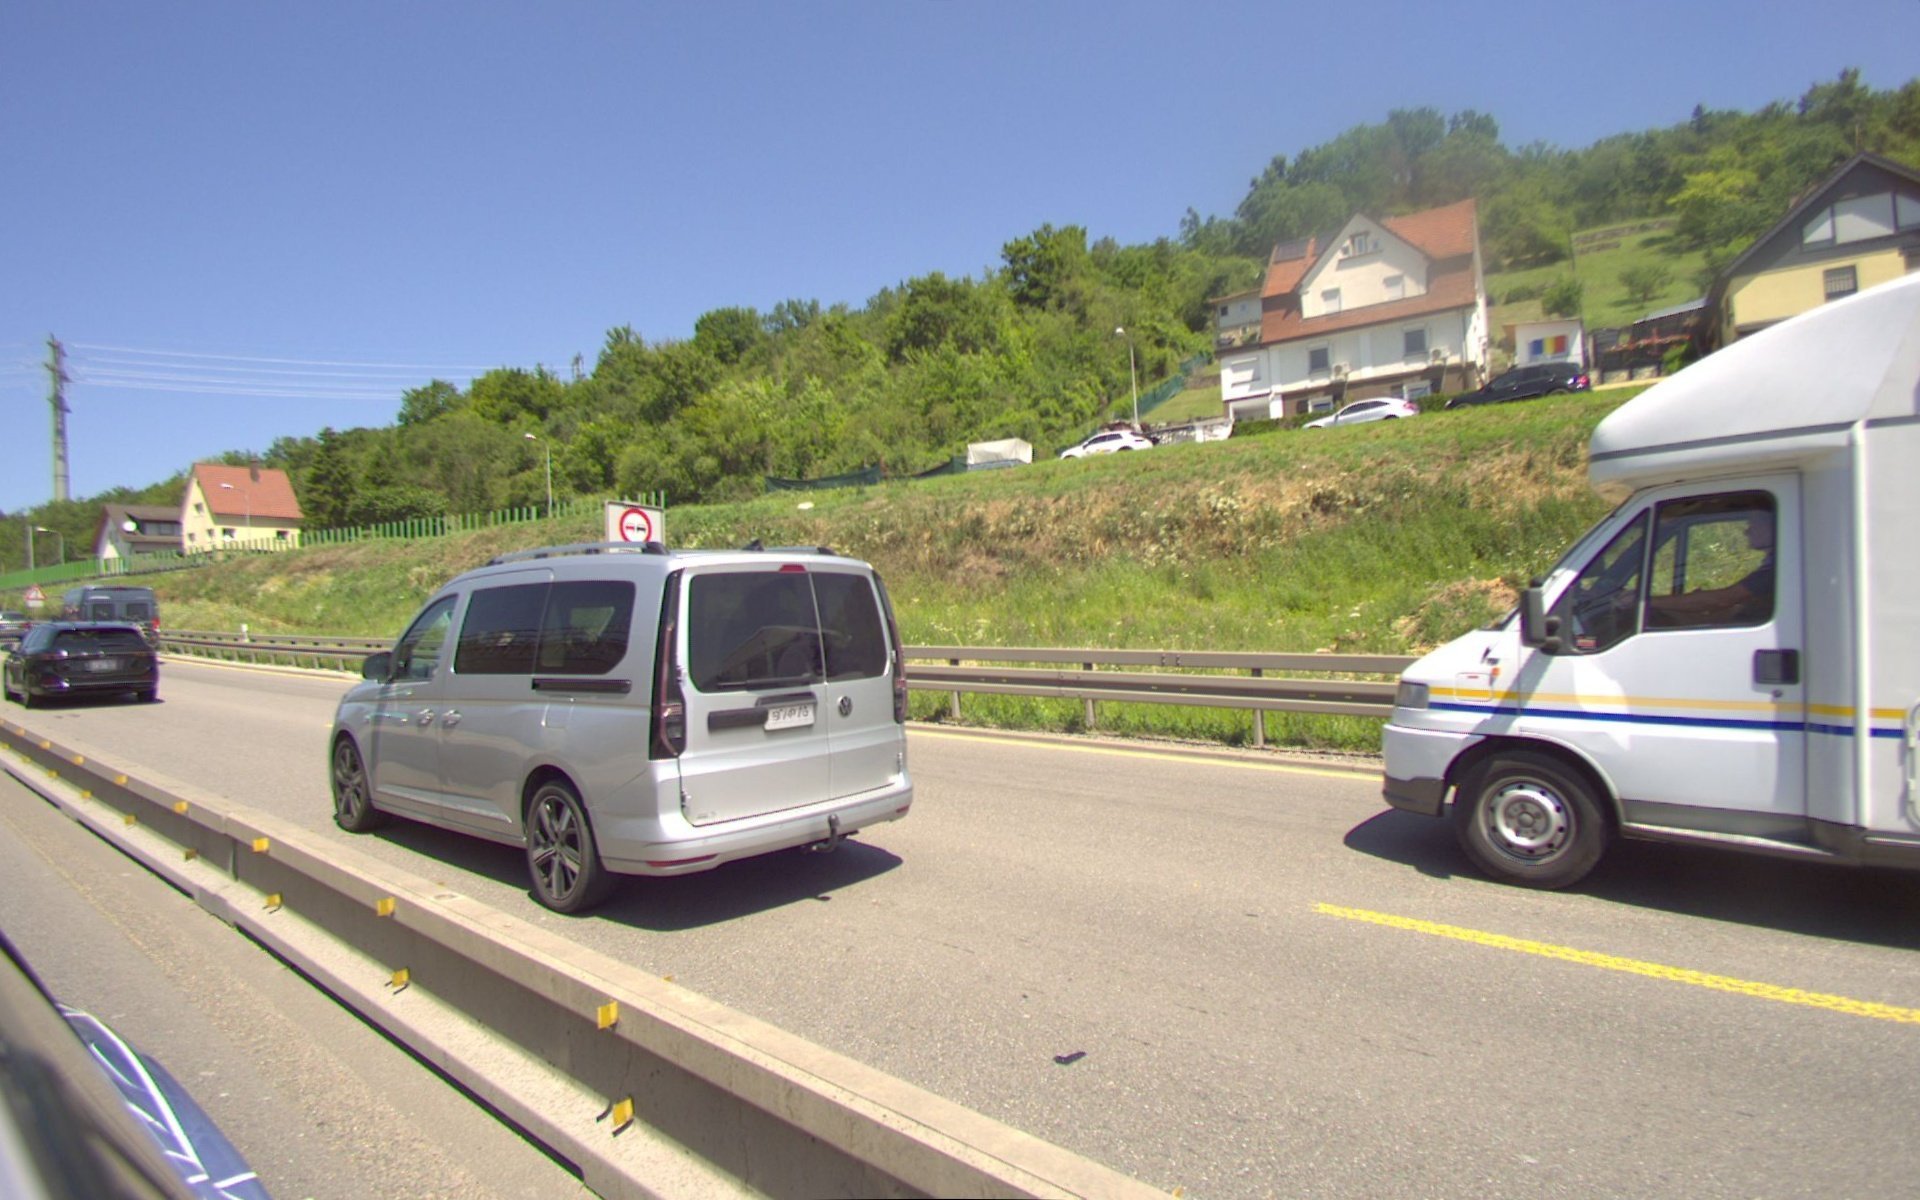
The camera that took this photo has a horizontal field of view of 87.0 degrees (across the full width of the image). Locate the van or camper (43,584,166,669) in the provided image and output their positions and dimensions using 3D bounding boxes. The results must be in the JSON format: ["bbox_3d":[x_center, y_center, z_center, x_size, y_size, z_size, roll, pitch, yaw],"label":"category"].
[{"bbox_3d":[-28.463,0.848,33.559,6.560,2.593,2.118,-1,0,41],"label":"van or camper"}]

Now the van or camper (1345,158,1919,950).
[{"bbox_3d":[5.422,-0.204,3.993,6.920,3.090,2.267,-1,-1,41],"label":"van or camper"}]

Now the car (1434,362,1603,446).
[{"bbox_3d":[19.337,-6.707,35.128,4.963,2.023,2.052,0,0,36],"label":"car"}]

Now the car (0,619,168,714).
[{"bbox_3d":[-16.116,1.112,18.378,4.832,1.486,1.824,-1,-1,41],"label":"car"}]

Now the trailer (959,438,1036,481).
[{"bbox_3d":[1.712,-6.397,46.357,3.025,1.527,1.889,0,0,30],"label":"trailer"}]

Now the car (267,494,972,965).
[{"bbox_3d":[-2.444,0.549,6.299,5.036,1.842,1.819,-1,-1,40],"label":"car"}]

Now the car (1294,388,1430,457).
[{"bbox_3d":[15.030,-6.578,37.908,4.421,1.886,1.976,0,0,35],"label":"car"}]

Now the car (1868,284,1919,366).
[{"bbox_3d":[28.908,-7.959,28.275,4.999,1.807,1.977,0,0,34],"label":"car"}]

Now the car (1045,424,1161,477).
[{"bbox_3d":[6.138,-6.396,43.568,4.537,1.668,1.979,0,0,31],"label":"car"}]

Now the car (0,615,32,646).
[{"bbox_3d":[-50.959,1.627,53.907,4.283,1.594,1.755,-1,0,41],"label":"car"}]
